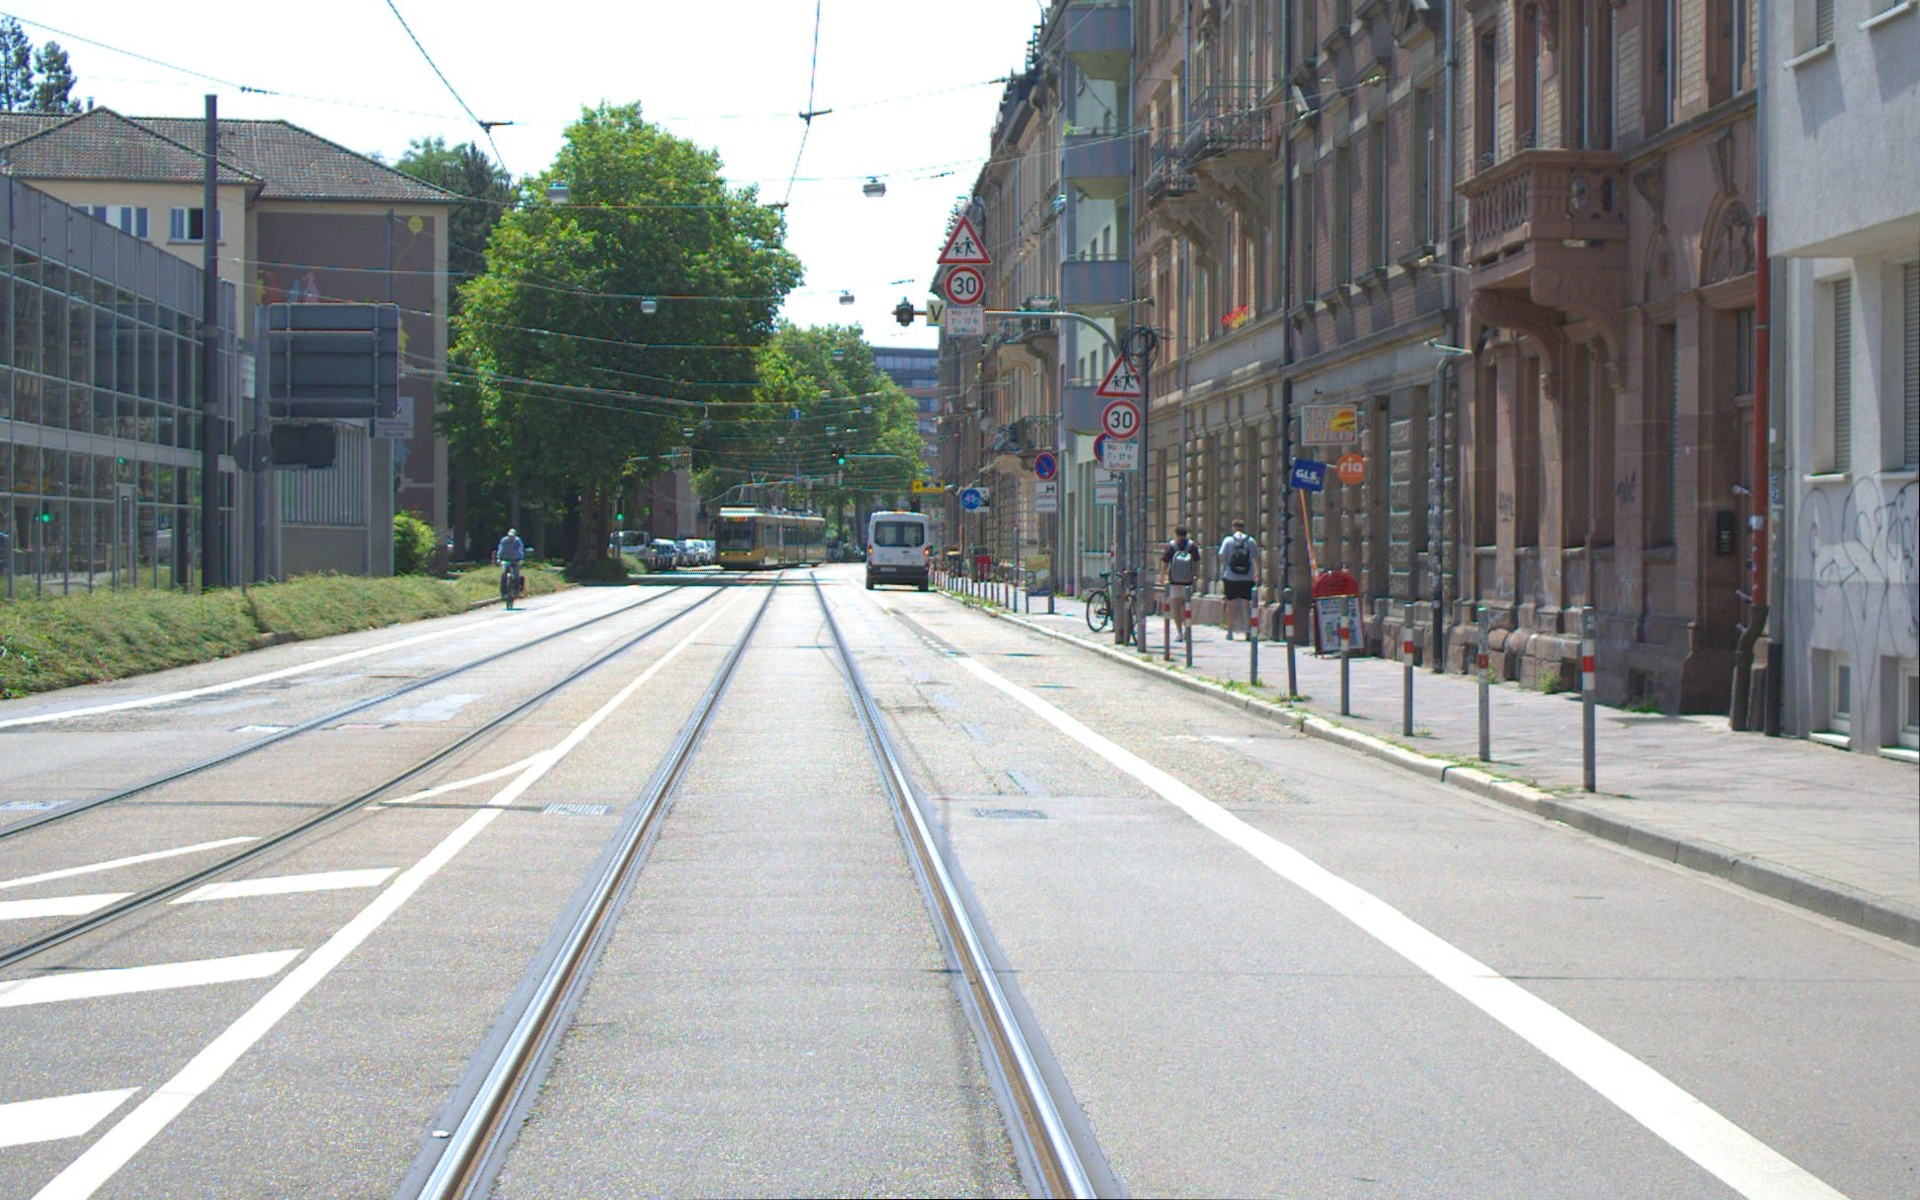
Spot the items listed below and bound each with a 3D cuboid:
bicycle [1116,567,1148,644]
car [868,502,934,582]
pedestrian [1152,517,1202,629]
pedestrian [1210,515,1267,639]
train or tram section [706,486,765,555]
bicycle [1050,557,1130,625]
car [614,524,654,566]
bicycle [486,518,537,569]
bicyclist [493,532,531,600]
[{"bbox_3d":[2.549,0.070,50.909,0.447,1.093,2.422,0,1,3],"label":"bicycle"},{"bbox_3d":[-1.966,-1.906,112.827,2.067,2.492,5.455,1,1,-1],"label":"car"},{"bbox_3d":[3.334,-0.419,52.890,0.720,1.714,0.644,0,1,-1],"label":"pedestrian"},{"bbox_3d":[4.244,-0.360,52.462,0.702,1.842,0.644,-3,1,-1],"label":"pedestrian"},{"bbox_3d":[-11.980,-4.259,184.586,2.960,3.568,13.425,0,1,-3],"label":"train or tram section"},{"bbox_3d":[2.227,-0.166,58.714,0.499,1.127,2.240,0,1,26],"label":"bicycle"},{"bbox_3d":[-15.400,-2.614,162.455,1.800,1.916,4.001,1,1,-5],"label":"car"},{"bbox_3d":[-10.253,-1.294,78.657,0.698,1.140,2.495,0,1,3],"label":"bicycle"},{"bbox_3d":[-10.244,-0.789,78.585,0.698,1.543,0.980,0,1,3],"label":"bicyclist"}]
